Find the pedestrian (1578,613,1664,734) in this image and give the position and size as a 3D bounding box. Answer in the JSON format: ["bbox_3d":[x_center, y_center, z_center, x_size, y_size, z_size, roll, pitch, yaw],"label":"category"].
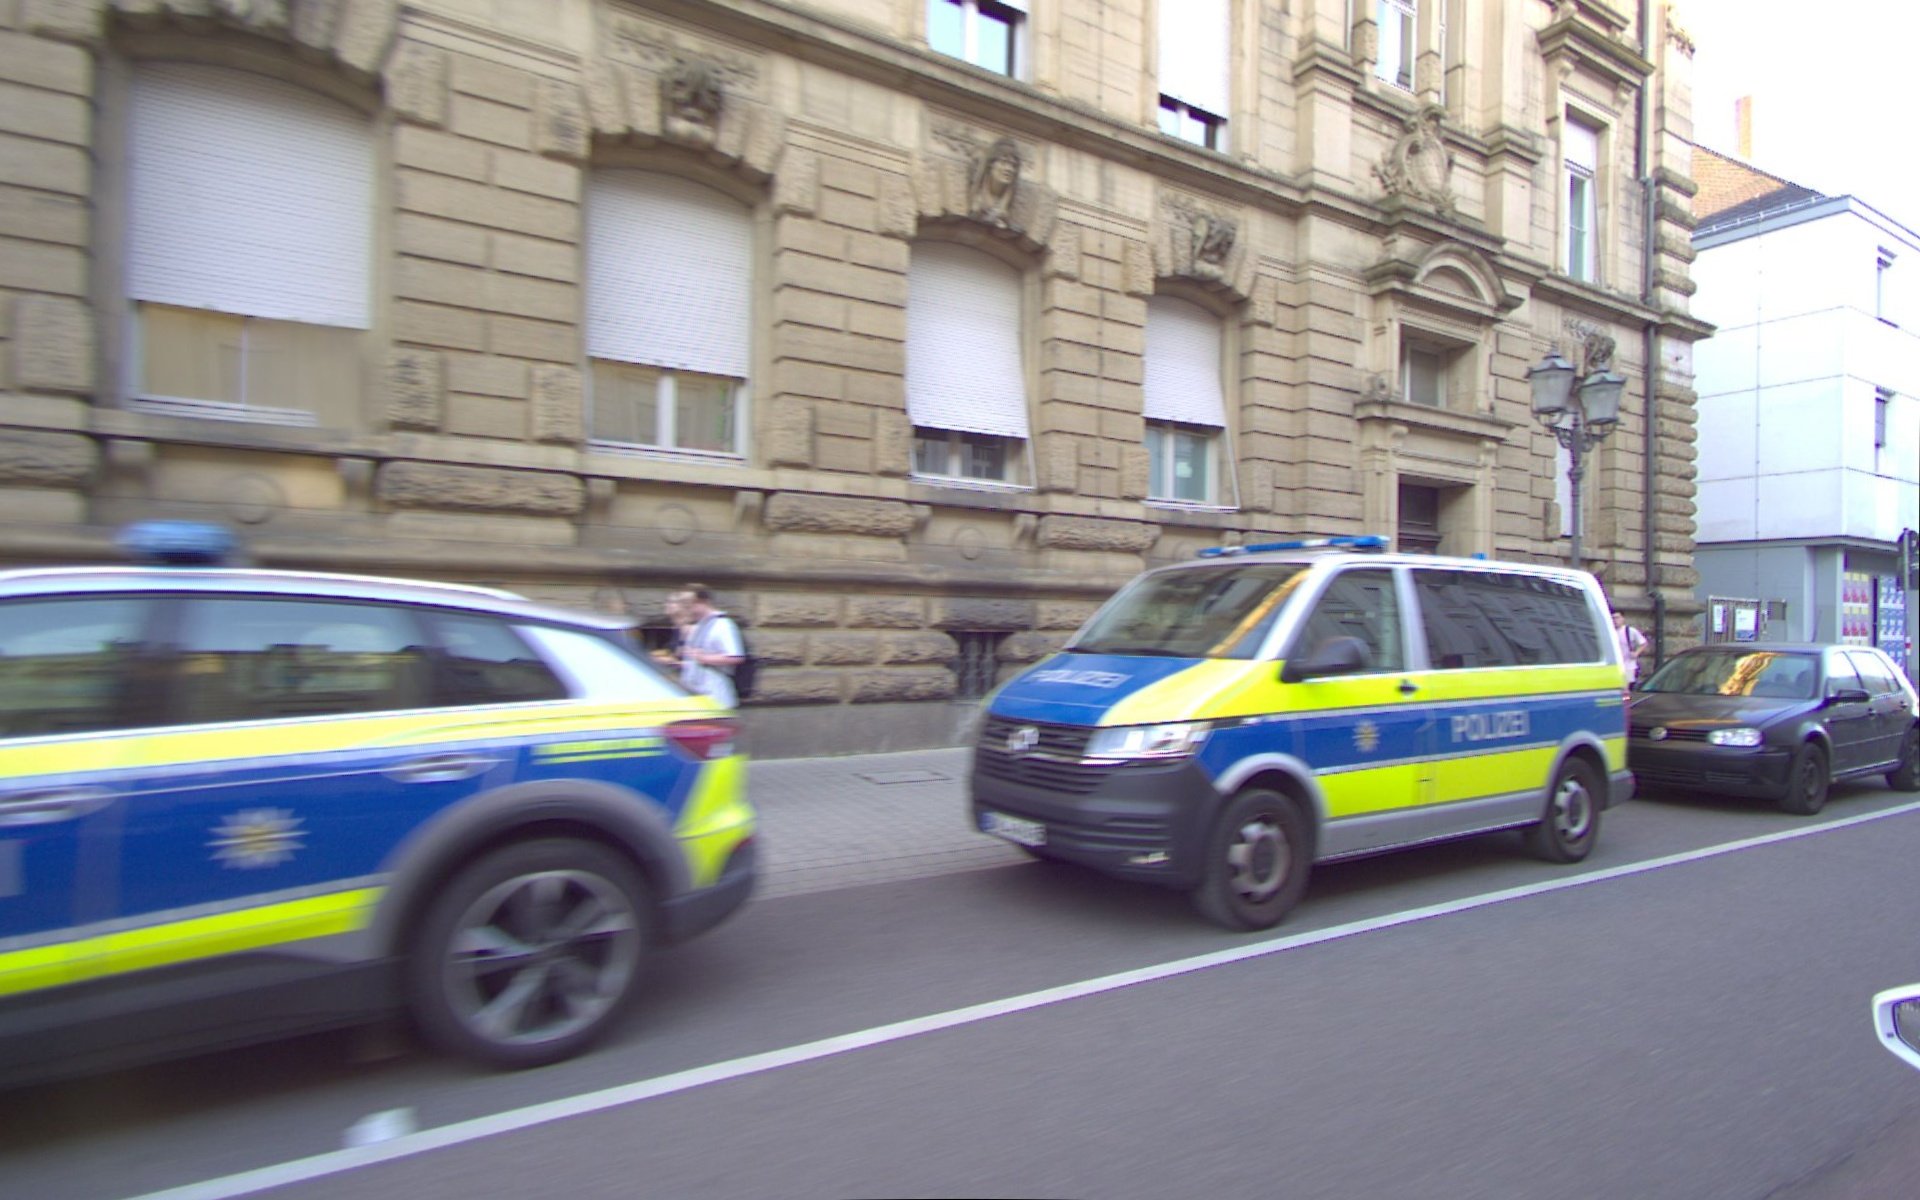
[{"bbox_3d":[10.074,1.100,15.319,0.886,1.753,0.710,1,2,-30],"label":"pedestrian"}]

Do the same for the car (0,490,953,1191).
[{"bbox_3d":[-2.610,0.639,3.639,4.941,1.775,1.980,2,-2,-35],"label":"car"}]

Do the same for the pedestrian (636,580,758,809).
[{"bbox_3d":[-2.133,0.736,8.146,0.821,1.753,0.580,1,-1,-30],"label":"pedestrian"}]

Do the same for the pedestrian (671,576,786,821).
[{"bbox_3d":[-1.759,0.716,7.607,0.700,1.753,0.557,1,-1,-30],"label":"pedestrian"}]

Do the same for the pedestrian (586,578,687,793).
[{"bbox_3d":[-2.780,0.708,8.622,0.694,1.753,0.604,1,-1,-29],"label":"pedestrian"}]

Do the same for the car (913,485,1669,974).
[{"bbox_3d":[2.330,0.652,6.506,4.935,2.105,1.983,2,-2,-32],"label":"car"}]

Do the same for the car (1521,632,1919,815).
[{"bbox_3d":[7.927,1.123,10.348,4.116,1.514,1.984,2,-2,-31],"label":"car"}]
